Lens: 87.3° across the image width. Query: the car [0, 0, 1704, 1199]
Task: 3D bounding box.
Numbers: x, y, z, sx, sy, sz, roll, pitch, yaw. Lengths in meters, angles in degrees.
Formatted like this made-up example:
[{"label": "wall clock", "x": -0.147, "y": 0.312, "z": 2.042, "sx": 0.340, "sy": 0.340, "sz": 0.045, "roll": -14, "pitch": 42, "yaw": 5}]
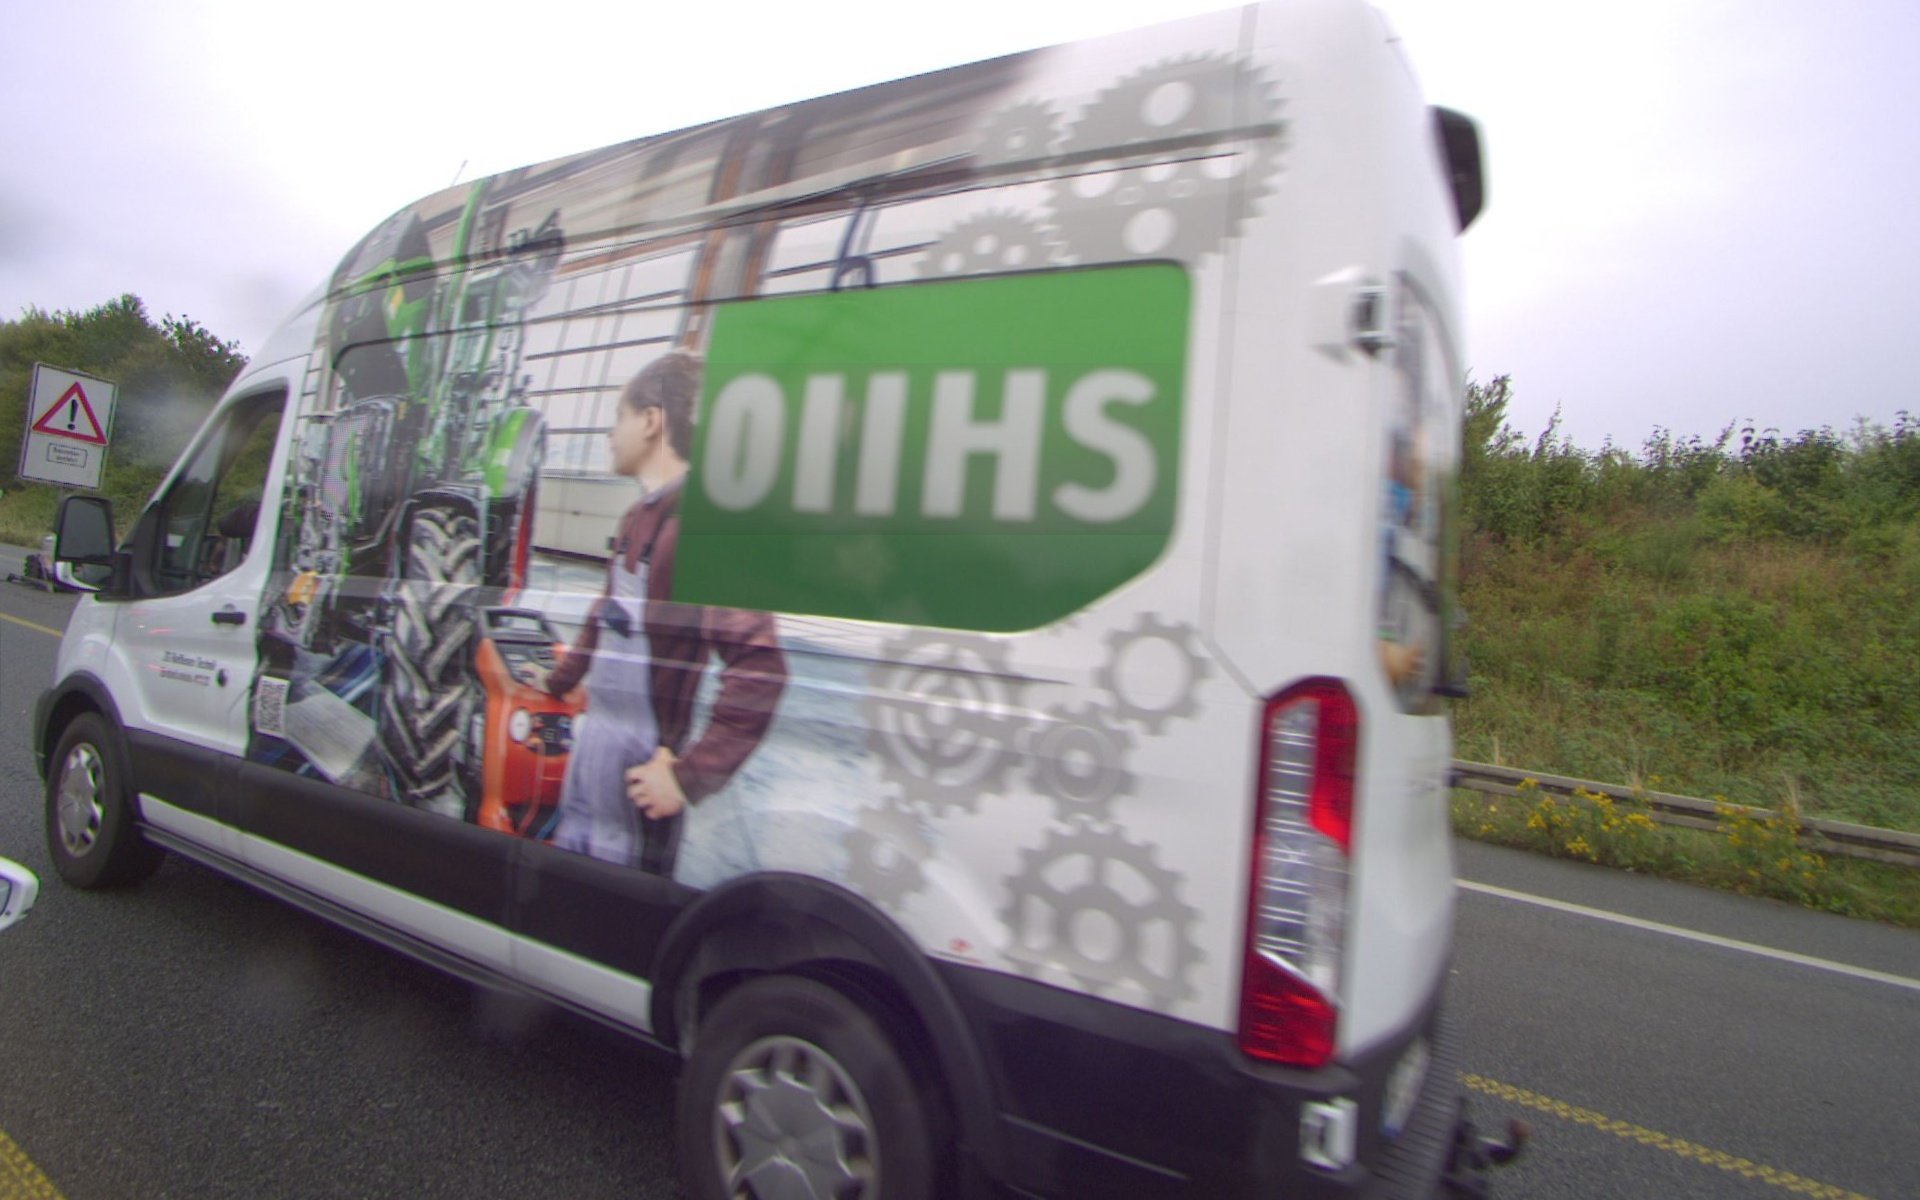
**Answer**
[{"label": "car", "x": -1.053, "y": -0.006, "z": 3.653, "sx": 5.659, "sy": 2.816, "sz": 1.997, "roll": 7, "pitch": 0, "yaw": 31}]
